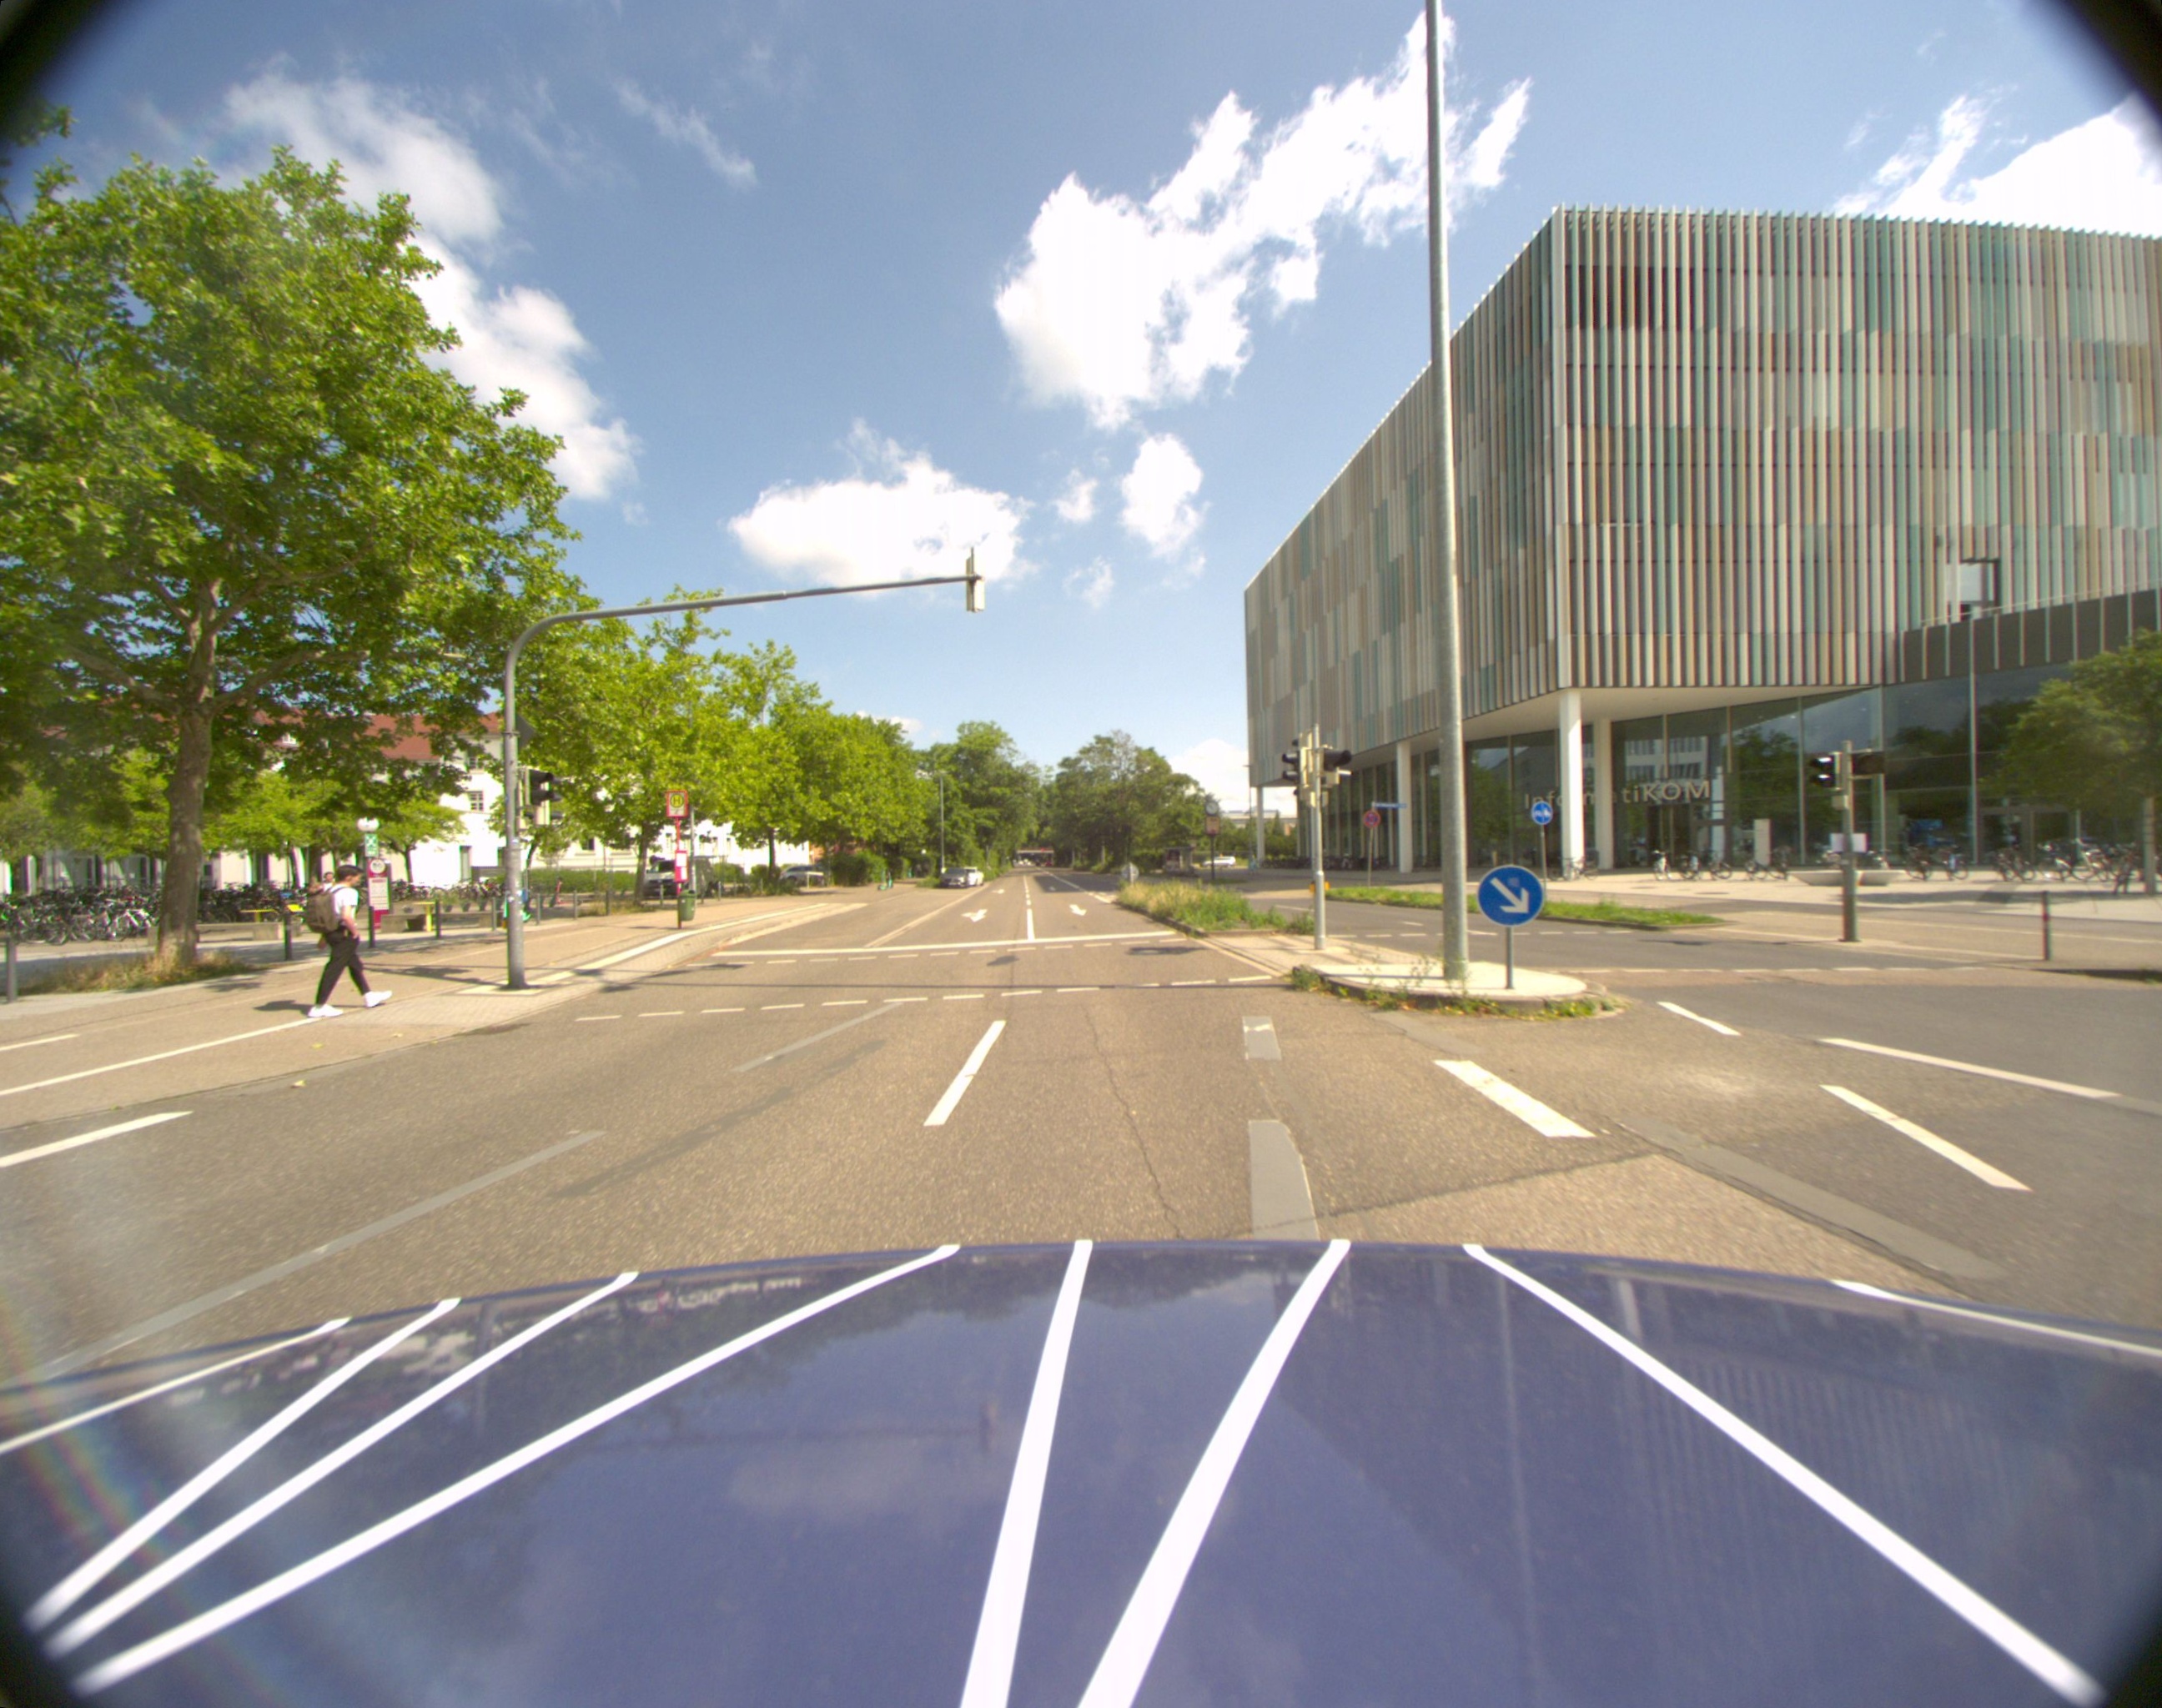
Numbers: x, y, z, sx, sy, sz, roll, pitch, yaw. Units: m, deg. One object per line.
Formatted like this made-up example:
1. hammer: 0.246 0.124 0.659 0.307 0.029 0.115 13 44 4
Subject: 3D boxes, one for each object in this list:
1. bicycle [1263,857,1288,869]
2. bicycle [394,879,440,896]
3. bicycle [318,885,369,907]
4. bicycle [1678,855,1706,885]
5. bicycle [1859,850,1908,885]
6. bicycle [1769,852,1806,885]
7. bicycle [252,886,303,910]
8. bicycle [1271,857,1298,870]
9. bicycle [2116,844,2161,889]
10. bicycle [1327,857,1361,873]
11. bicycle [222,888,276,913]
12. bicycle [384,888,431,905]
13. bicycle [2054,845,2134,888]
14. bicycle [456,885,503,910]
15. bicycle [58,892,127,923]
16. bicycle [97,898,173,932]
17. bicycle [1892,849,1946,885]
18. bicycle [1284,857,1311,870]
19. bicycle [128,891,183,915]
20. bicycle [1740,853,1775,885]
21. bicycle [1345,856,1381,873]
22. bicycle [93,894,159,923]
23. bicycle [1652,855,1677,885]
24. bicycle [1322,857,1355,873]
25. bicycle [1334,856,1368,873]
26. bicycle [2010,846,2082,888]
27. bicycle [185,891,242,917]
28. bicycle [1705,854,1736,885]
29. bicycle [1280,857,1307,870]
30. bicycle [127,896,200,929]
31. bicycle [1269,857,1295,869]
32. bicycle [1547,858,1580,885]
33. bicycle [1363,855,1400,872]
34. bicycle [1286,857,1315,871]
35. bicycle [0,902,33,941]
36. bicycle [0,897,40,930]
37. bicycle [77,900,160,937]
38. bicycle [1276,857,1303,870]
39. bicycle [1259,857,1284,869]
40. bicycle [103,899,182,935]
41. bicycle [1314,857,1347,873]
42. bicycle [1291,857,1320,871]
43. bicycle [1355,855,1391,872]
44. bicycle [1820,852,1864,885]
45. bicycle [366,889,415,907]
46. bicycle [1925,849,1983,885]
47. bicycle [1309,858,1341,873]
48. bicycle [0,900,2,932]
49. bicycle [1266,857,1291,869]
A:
1. bicycle: 18.610 0.869 72.728 2.218 1.090 0.722 -2 0 -8
2. bicycle: -33.958 1.719 38.856 1.673 0.785 0.626 -2 0 -8
3. bicycle: -33.305 1.896 34.323 1.673 0.915 0.472 -2 0 -8
4. bicycle: 23.635 0.601 29.423 0.720 1.090 2.223 -2 0 36
5. bicycle: 26.800 0.438 25.419 0.720 1.090 2.223 -2 0 36
6. bicycle: 25.474 0.513 27.421 0.720 1.090 2.223 -2 0 36
7. bicycle: -39.731 2.154 37.580 1.673 1.090 0.626 -2 0 -8
8. bicycle: 18.572 0.867 69.262 2.218 1.090 0.722 -2 0 -8
9. bicycle: 30.041 0.323 21.167 0.745 1.183 2.323 -2 0 37
10. bicycle: 19.373 0.798 55.960 2.218 1.090 0.722 -2 0 -8
11. bicycle: -38.927 2.177 35.560 1.673 1.090 0.626 -2 0 -8
12. bicycle: -33.680 2.124 37.995 1.673 0.785 0.626 -2 0 -8
13. bicycle: 29.545 0.351 22.211 0.745 1.183 2.323 -2 0 37
14. bicycle: -29.396 2.123 37.162 1.673 1.090 0.626 -2 0 -8
15. bicycle: -38.943 2.102 29.945 1.673 1.090 0.626 -2 0 -8
16. bicycle: -33.234 2.120 26.700 1.673 1.090 0.626 -2 0 -8
17. bicycle: 27.403 0.409 24.880 0.720 1.090 2.223 -2 0 36
18. bicycle: 18.914 0.841 66.394 2.218 1.090 0.722 -2 0 -8
19. bicycle: -45.225 2.386 37.138 1.673 1.090 0.626 -2 0 -8
20. bicycle: 24.800 0.526 27.892 0.720 1.090 2.223 -2 0 36
21. bicycle: 19.853 0.725 53.496 2.218 1.090 0.722 -2 0 -8
22. bicycle: -39.123 2.213 31.132 1.673 1.090 0.626 -2 0 -8
23. bicycle: 22.966 0.628 29.933 0.720 1.090 2.223 -2 0 36
24. bicycle: 19.277 0.817 56.883 2.218 1.090 0.722 -2 0 -8
25. bicycle: 19.544 0.758 55.038 2.218 1.090 0.735 -2 0 -8
26. bicycle: 28.986 0.381 22.869 0.745 1.183 2.323 -2 0 37
27. bicycle: -39.266 2.241 34.394 1.673 1.090 0.626 -2 0 -8
28. bicycle: 24.332 0.586 28.936 0.720 1.090 2.223 -2 0 36
29. bicycle: 18.793 0.856 67.177 2.218 1.083 0.722 -2 0 -8
30. bicycle: -33.285 2.099 27.568 1.673 1.090 0.626 -2 0 -8
31. bicycle: 18.632 0.827 70.525 2.218 1.090 0.722 -2 0 -8
32. bicycle: 20.405 0.727 32.166 0.547 1.090 1.635 -2 0 8
33. bicycle: 20.298 0.645 51.384 2.218 1.090 0.722 -2 0 -8
34. bicycle: 18.939 0.847 65.542 2.218 1.090 0.722 -2 0 -8
35. bicycle: -32.648 2.038 22.646 1.673 1.090 0.626 -2 0 -8
36. bicycle: -38.190 2.126 26.867 1.673 1.090 0.626 -2 0 -8
37. bicycle: -31.242 2.080 24.681 1.673 1.090 0.626 -2 0 -8
38. bicycle: 18.688 0.876 68.092 2.218 1.090 0.722 -2 0 -8
39. bicycle: 18.562 0.888 73.864 2.218 1.090 0.722 -2 0 -8
40. bicycle: -31.408 2.114 25.450 1.673 1.090 0.626 -2 0 -8
41. bicycle: 19.091 0.843 58.155 2.218 1.090 0.722 -2 0 -8
42. bicycle: 19.052 0.829 64.462 2.218 1.090 0.722 -2 0 -8
43. bicycle: 20.189 0.666 52.507 2.218 1.090 0.755 -2 0 -8
44. bicycle: 26.131 0.484 26.126 0.720 1.090 2.223 -2 0 36
45. bicycle: -33.725 2.143 37.115 1.673 0.785 0.626 -2 0 -8
46. bicycle: 28.033 0.410 24.433 0.720 1.090 2.223 -2 0 36
47. bicycle: 18.978 0.884 59.155 2.218 1.090 0.722 -2 0 -8
48. bicycle: -38.160 2.166 25.886 1.673 1.090 0.626 -2 0 -8
49. bicycle: 18.678 0.846 71.924 2.218 1.090 0.722 -2 0 -8
